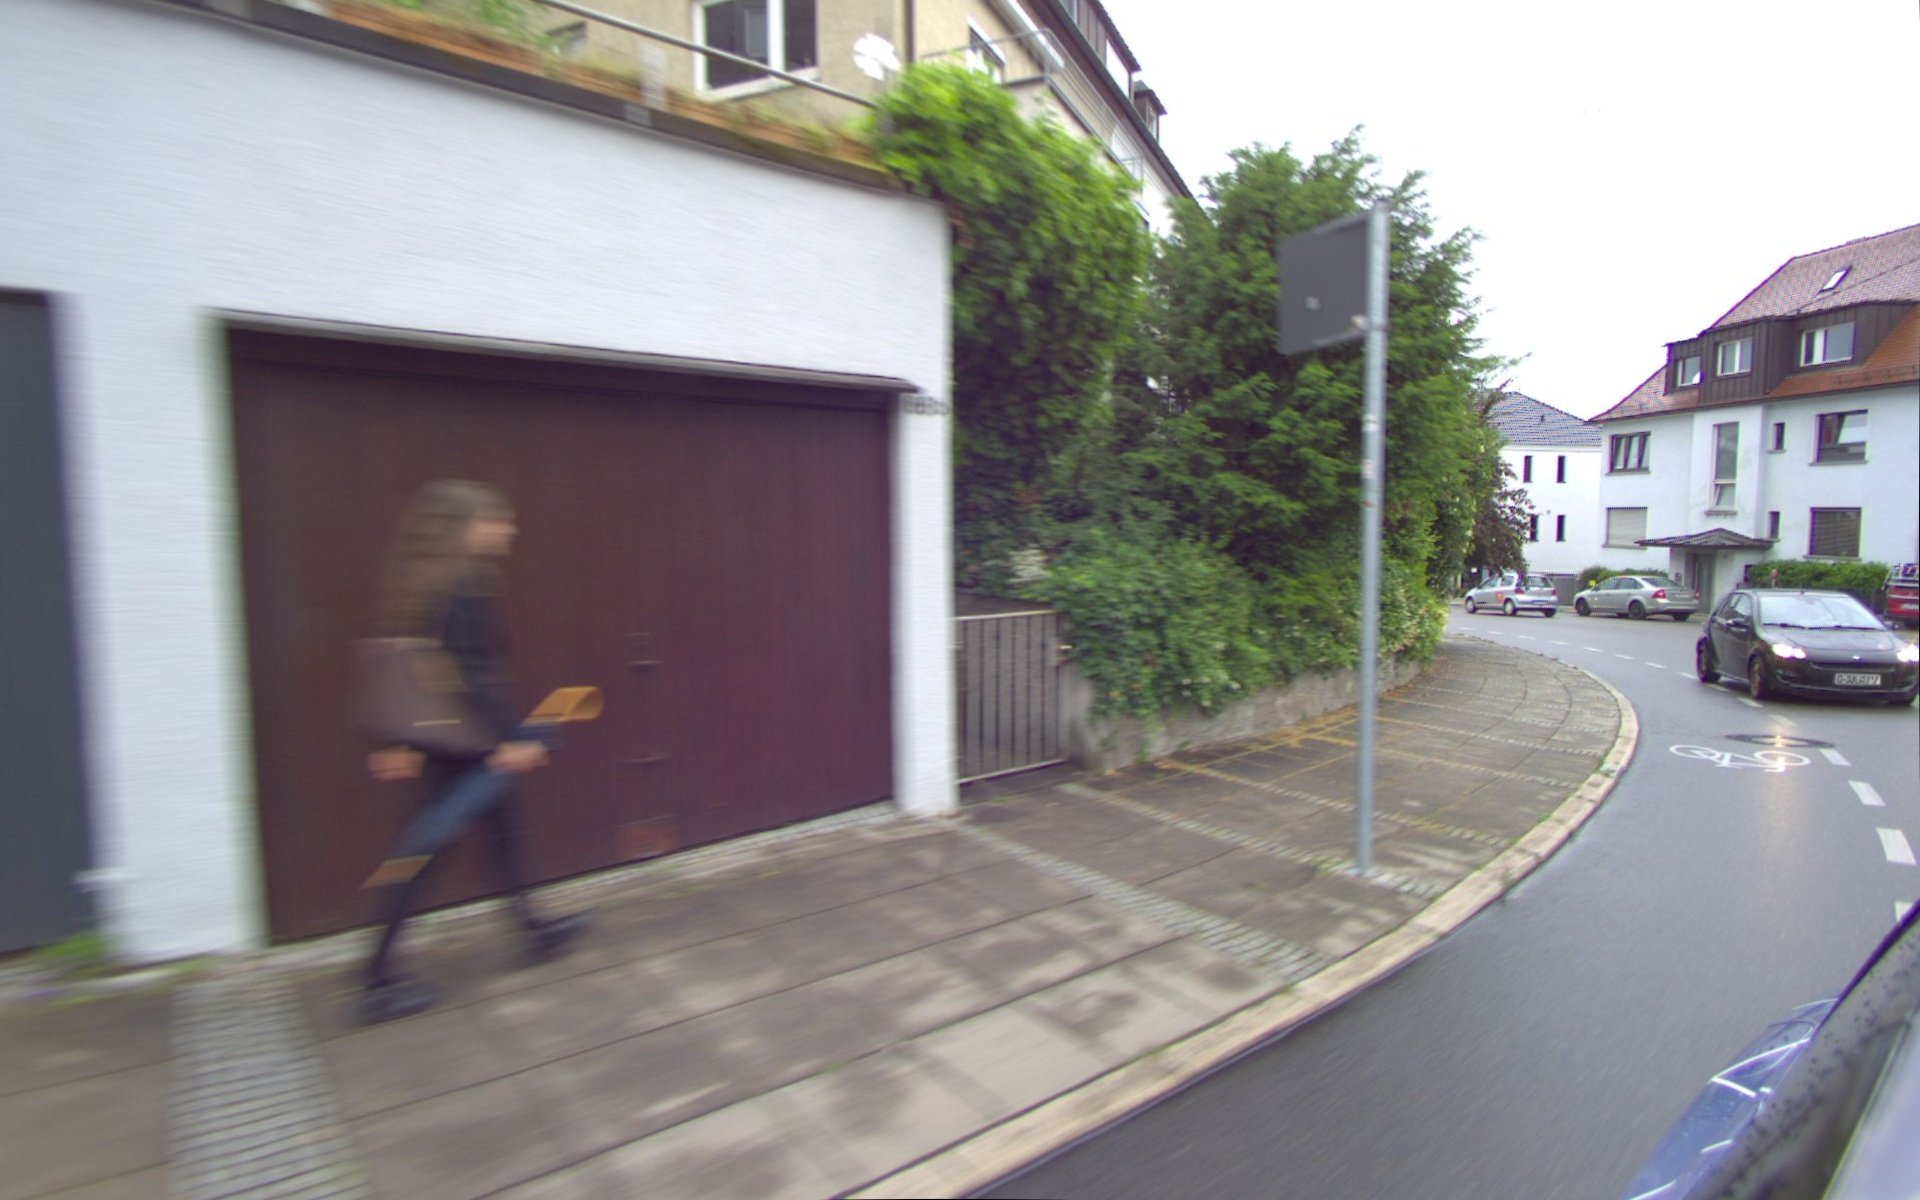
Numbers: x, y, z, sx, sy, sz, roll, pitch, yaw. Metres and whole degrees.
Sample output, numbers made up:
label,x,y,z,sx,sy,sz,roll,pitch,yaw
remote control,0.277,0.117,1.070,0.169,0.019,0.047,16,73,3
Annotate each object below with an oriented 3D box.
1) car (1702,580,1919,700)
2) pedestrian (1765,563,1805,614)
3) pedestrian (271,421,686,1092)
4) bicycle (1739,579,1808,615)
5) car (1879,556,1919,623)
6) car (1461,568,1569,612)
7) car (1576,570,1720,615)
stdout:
label,x,y,z,sx,sy,sz,roll,pitch,yaw
car,11.853,0.462,14.123,1.663,1.430,3.608,0,1,24
pedestrian,26.857,-0.376,32.954,0.928,1.596,0.495,-2,1,-10
pedestrian,-1.550,0.380,3.243,1.041,1.742,0.806,-1,4,-38
bicycle,26.262,-0.109,32.695,0.448,1.080,1.925,-2,2,-8
car,28.498,-0.198,28.124,3.926,1.845,2.000,3,2,1
car,19.799,-0.392,36.301,1.462,1.441,3.862,1,2,-5
car,23.589,-0.307,34.906,1.805,1.443,4.235,0,2,-5
